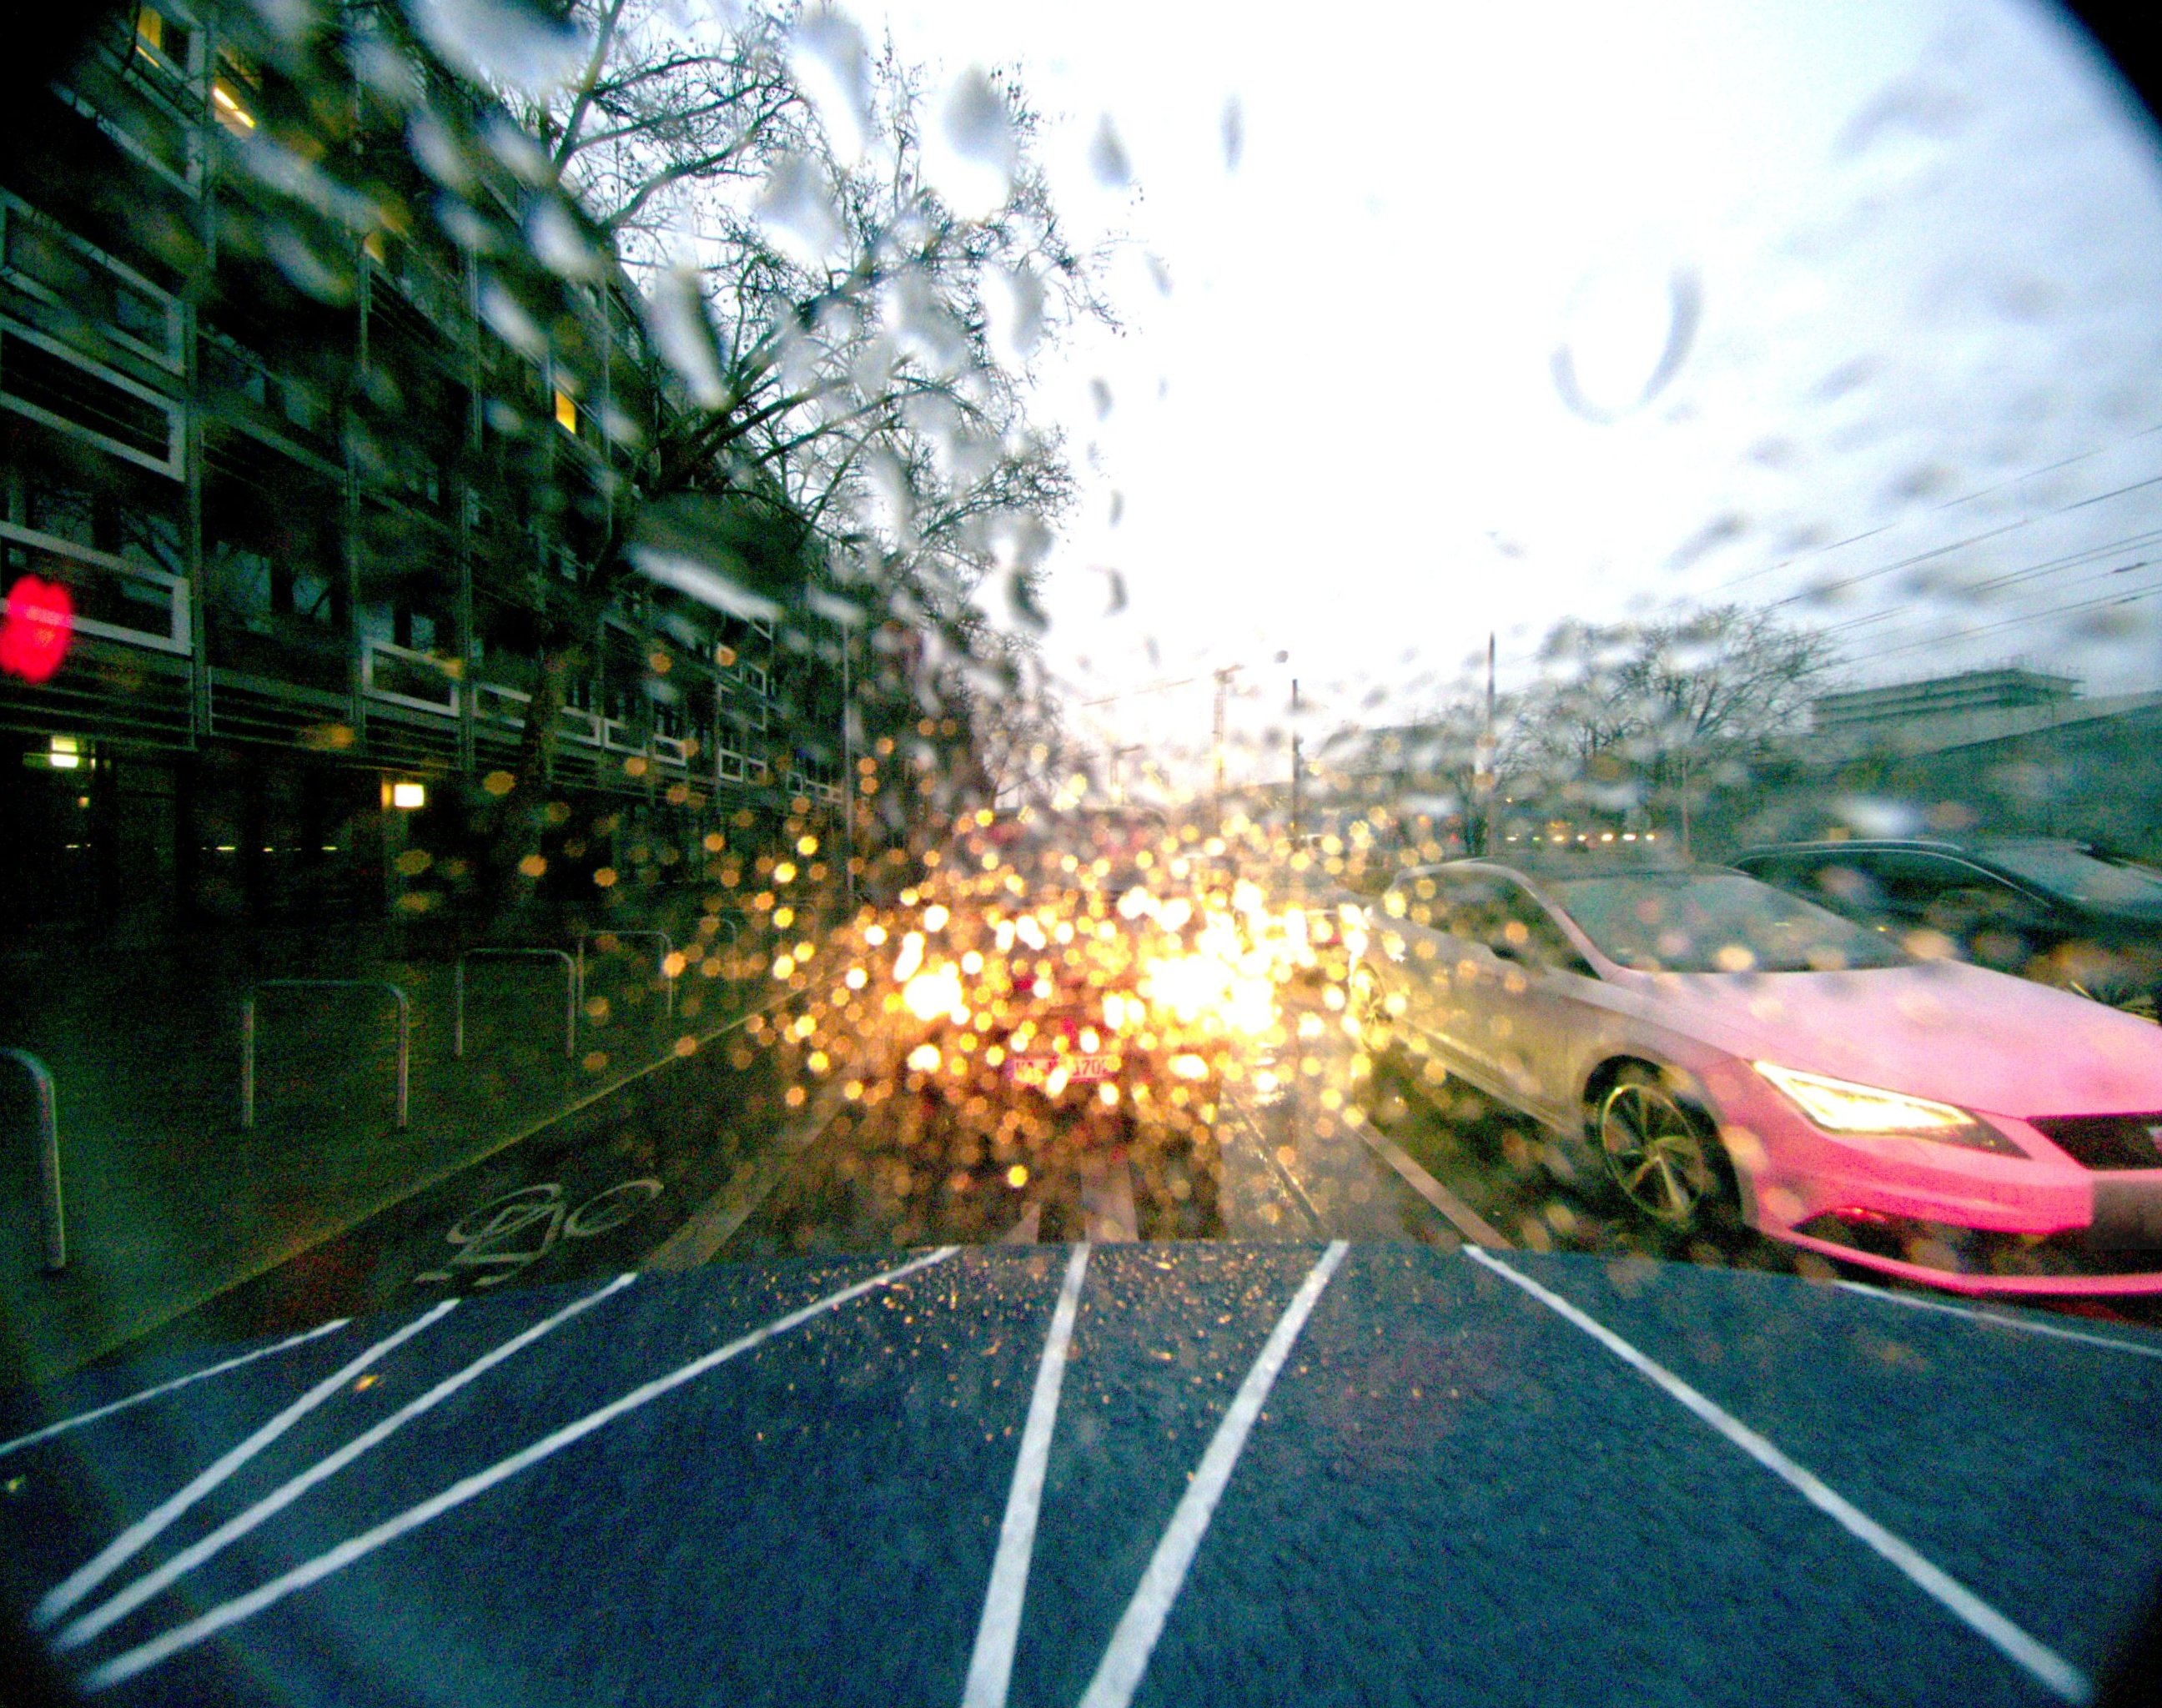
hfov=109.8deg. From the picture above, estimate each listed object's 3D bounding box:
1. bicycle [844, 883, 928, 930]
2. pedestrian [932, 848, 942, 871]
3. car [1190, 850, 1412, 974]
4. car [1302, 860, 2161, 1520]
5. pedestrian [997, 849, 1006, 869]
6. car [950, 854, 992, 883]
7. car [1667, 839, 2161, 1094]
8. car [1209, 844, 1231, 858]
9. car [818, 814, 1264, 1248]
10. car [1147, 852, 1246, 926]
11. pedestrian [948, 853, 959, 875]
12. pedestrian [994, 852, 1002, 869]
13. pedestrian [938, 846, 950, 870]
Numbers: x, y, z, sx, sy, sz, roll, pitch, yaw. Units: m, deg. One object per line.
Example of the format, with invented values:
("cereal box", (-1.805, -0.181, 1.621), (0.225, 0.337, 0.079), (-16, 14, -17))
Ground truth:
("bicycle", (-4.485, 1.205, 17.605), (1.704, 0.987, 0.879), (1, 1, 0))
("pedestrian", (-12.629, 0.466, 66.741), (0.699, 1.968, 0.928), (0, 1, 1))
("car", (3.022, 0.699, 11.558), (1.999, 1.478, 4.505), (-1, 0, -1))
("car", (2.984, 0.838, 4.156), (1.949, 1.478, 4.504), (-2, 0, -4))
("pedestrian", (-7.124, 0.435, 68.302), (0.766, 1.740, 0.928), (0, 1, -4))
("car", (-6.214, 0.783, 43.397), (1.713, 1.455, 3.999), (-2, 1, 1))
("car", (7.357, 0.650, 5.971), (1.853, 1.499, 4.662), (-1, 1, -1))
("car", (19.900, -0.463, 108.993), (2.095, 1.884, 3.997), (-1, 1, -7))
("car", (-0.173, 0.756, 5.321), (1.878, 1.830, 3.999), (-2, 1, 0))
("car", (2.794, 0.793, 19.231), (1.907, 1.565, 3.999), (-2, 1, 1))
("pedestrian", (-10.218, 0.811, 61.118), (0.766, 1.740, 0.928), (0, 1, -4))
("pedestrian", (-8.573, 0.657, 78.175), (0.766, 1.740, 0.928), (0, 1, -4))
("pedestrian", (-13.211, 0.371, 73.068), (1.062, 2.182, 1.110), (-2, 1, -11))
